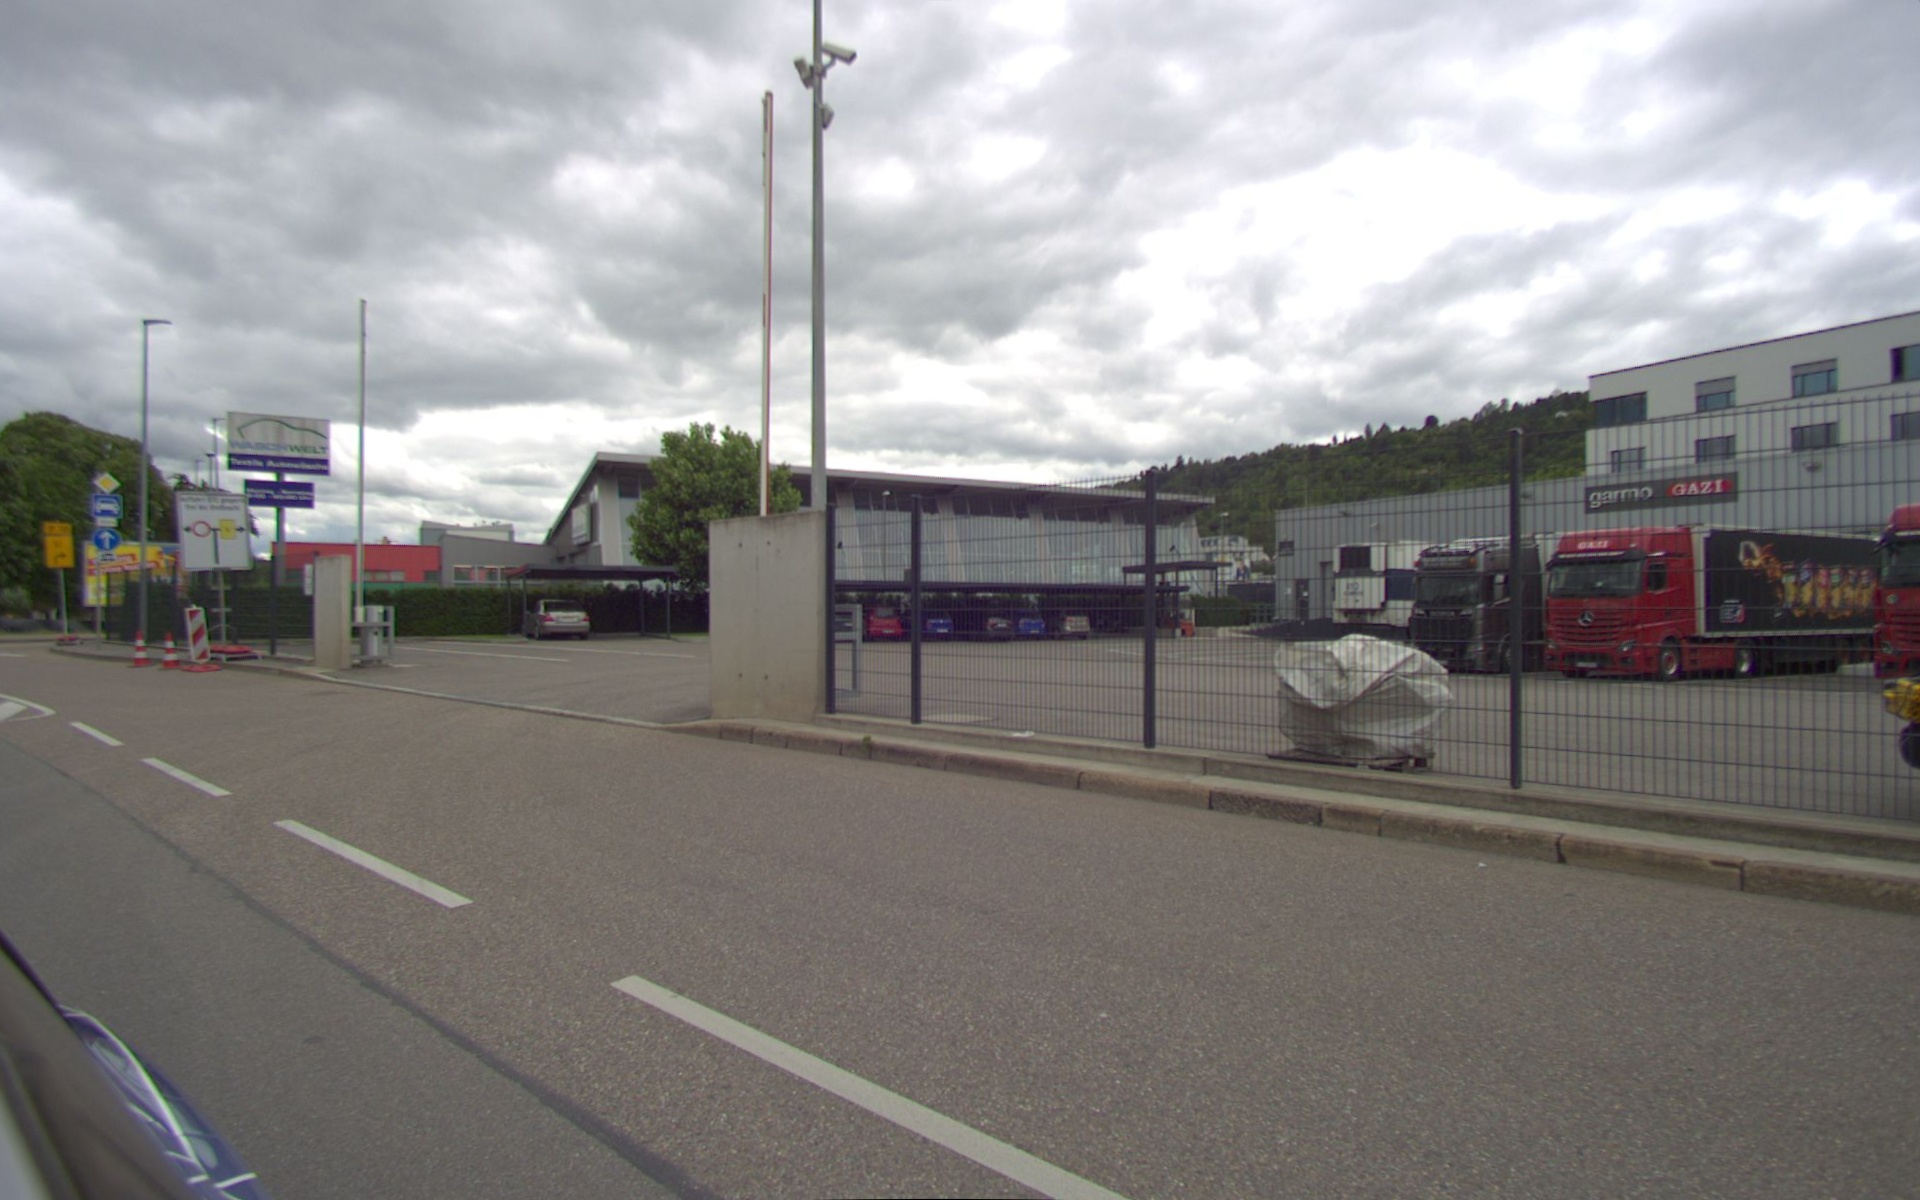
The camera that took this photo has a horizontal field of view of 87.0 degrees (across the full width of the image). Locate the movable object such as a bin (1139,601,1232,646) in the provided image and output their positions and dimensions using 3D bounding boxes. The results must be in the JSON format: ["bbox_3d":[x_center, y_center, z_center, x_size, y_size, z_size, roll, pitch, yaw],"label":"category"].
[{"bbox_3d":[11.829,1.204,53.384,2.046,2.243,4.612,0,-1,-34],"label":"movable object such as a bin"}]

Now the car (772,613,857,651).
[{"bbox_3d":[-6.254,1.324,43.151,1.934,1.503,4.259,0,-1,-34],"label":"car"}]

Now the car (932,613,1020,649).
[{"bbox_3d":[0.673,1.371,45.900,1.934,1.571,4.259,0,-1,-34],"label":"car"}]

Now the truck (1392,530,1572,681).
[{"bbox_3d":[15.227,0.165,29.560,4.093,4.070,2.811,0,-1,-28],"label":"truck"}]

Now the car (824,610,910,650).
[{"bbox_3d":[-4.106,1.288,44.199,1.934,1.660,4.259,0,-1,-34],"label":"car"}]

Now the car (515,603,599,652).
[{"bbox_3d":[-14.847,0.988,37.150,2.039,1.682,4.259,0,-1,-34],"label":"car"}]

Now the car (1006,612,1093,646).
[{"bbox_3d":[4.281,1.373,49.016,1.934,1.571,4.259,0,-1,-34],"label":"car"}]

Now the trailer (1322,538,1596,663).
[{"bbox_3d":[18.518,0.049,37.238,11.213,4.108,3.101,0,-1,-28],"label":"trailer"}]

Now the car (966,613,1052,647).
[{"bbox_3d":[2.268,1.391,48.014,1.934,1.571,4.259,0,-1,-34],"label":"car"}]

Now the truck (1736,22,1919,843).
[{"bbox_3d":[7.728,-0.858,4.152,6.942,4.051,2.890,-1,-1,43],"label":"truck"}]

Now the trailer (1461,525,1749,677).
[{"bbox_3d":[21.019,0.050,32.684,10.989,4.333,2.801,0,-1,-28],"label":"trailer"}]

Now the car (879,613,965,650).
[{"bbox_3d":[-1.780,1.396,45.559,1.934,1.571,4.259,0,-1,-34],"label":"car"}]

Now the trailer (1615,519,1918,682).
[{"bbox_3d":[23.530,0.032,29.290,10.806,4.108,2.801,0,-1,-28],"label":"trailer"}]

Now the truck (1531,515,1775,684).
[{"bbox_3d":[18.057,0.014,26.356,5.823,3.958,2.811,0,-1,-28],"label":"truck"}]

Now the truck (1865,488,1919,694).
[{"bbox_3d":[21.323,-0.170,20.326,5.823,3.958,2.811,0,-1,-28],"label":"truck"}]
